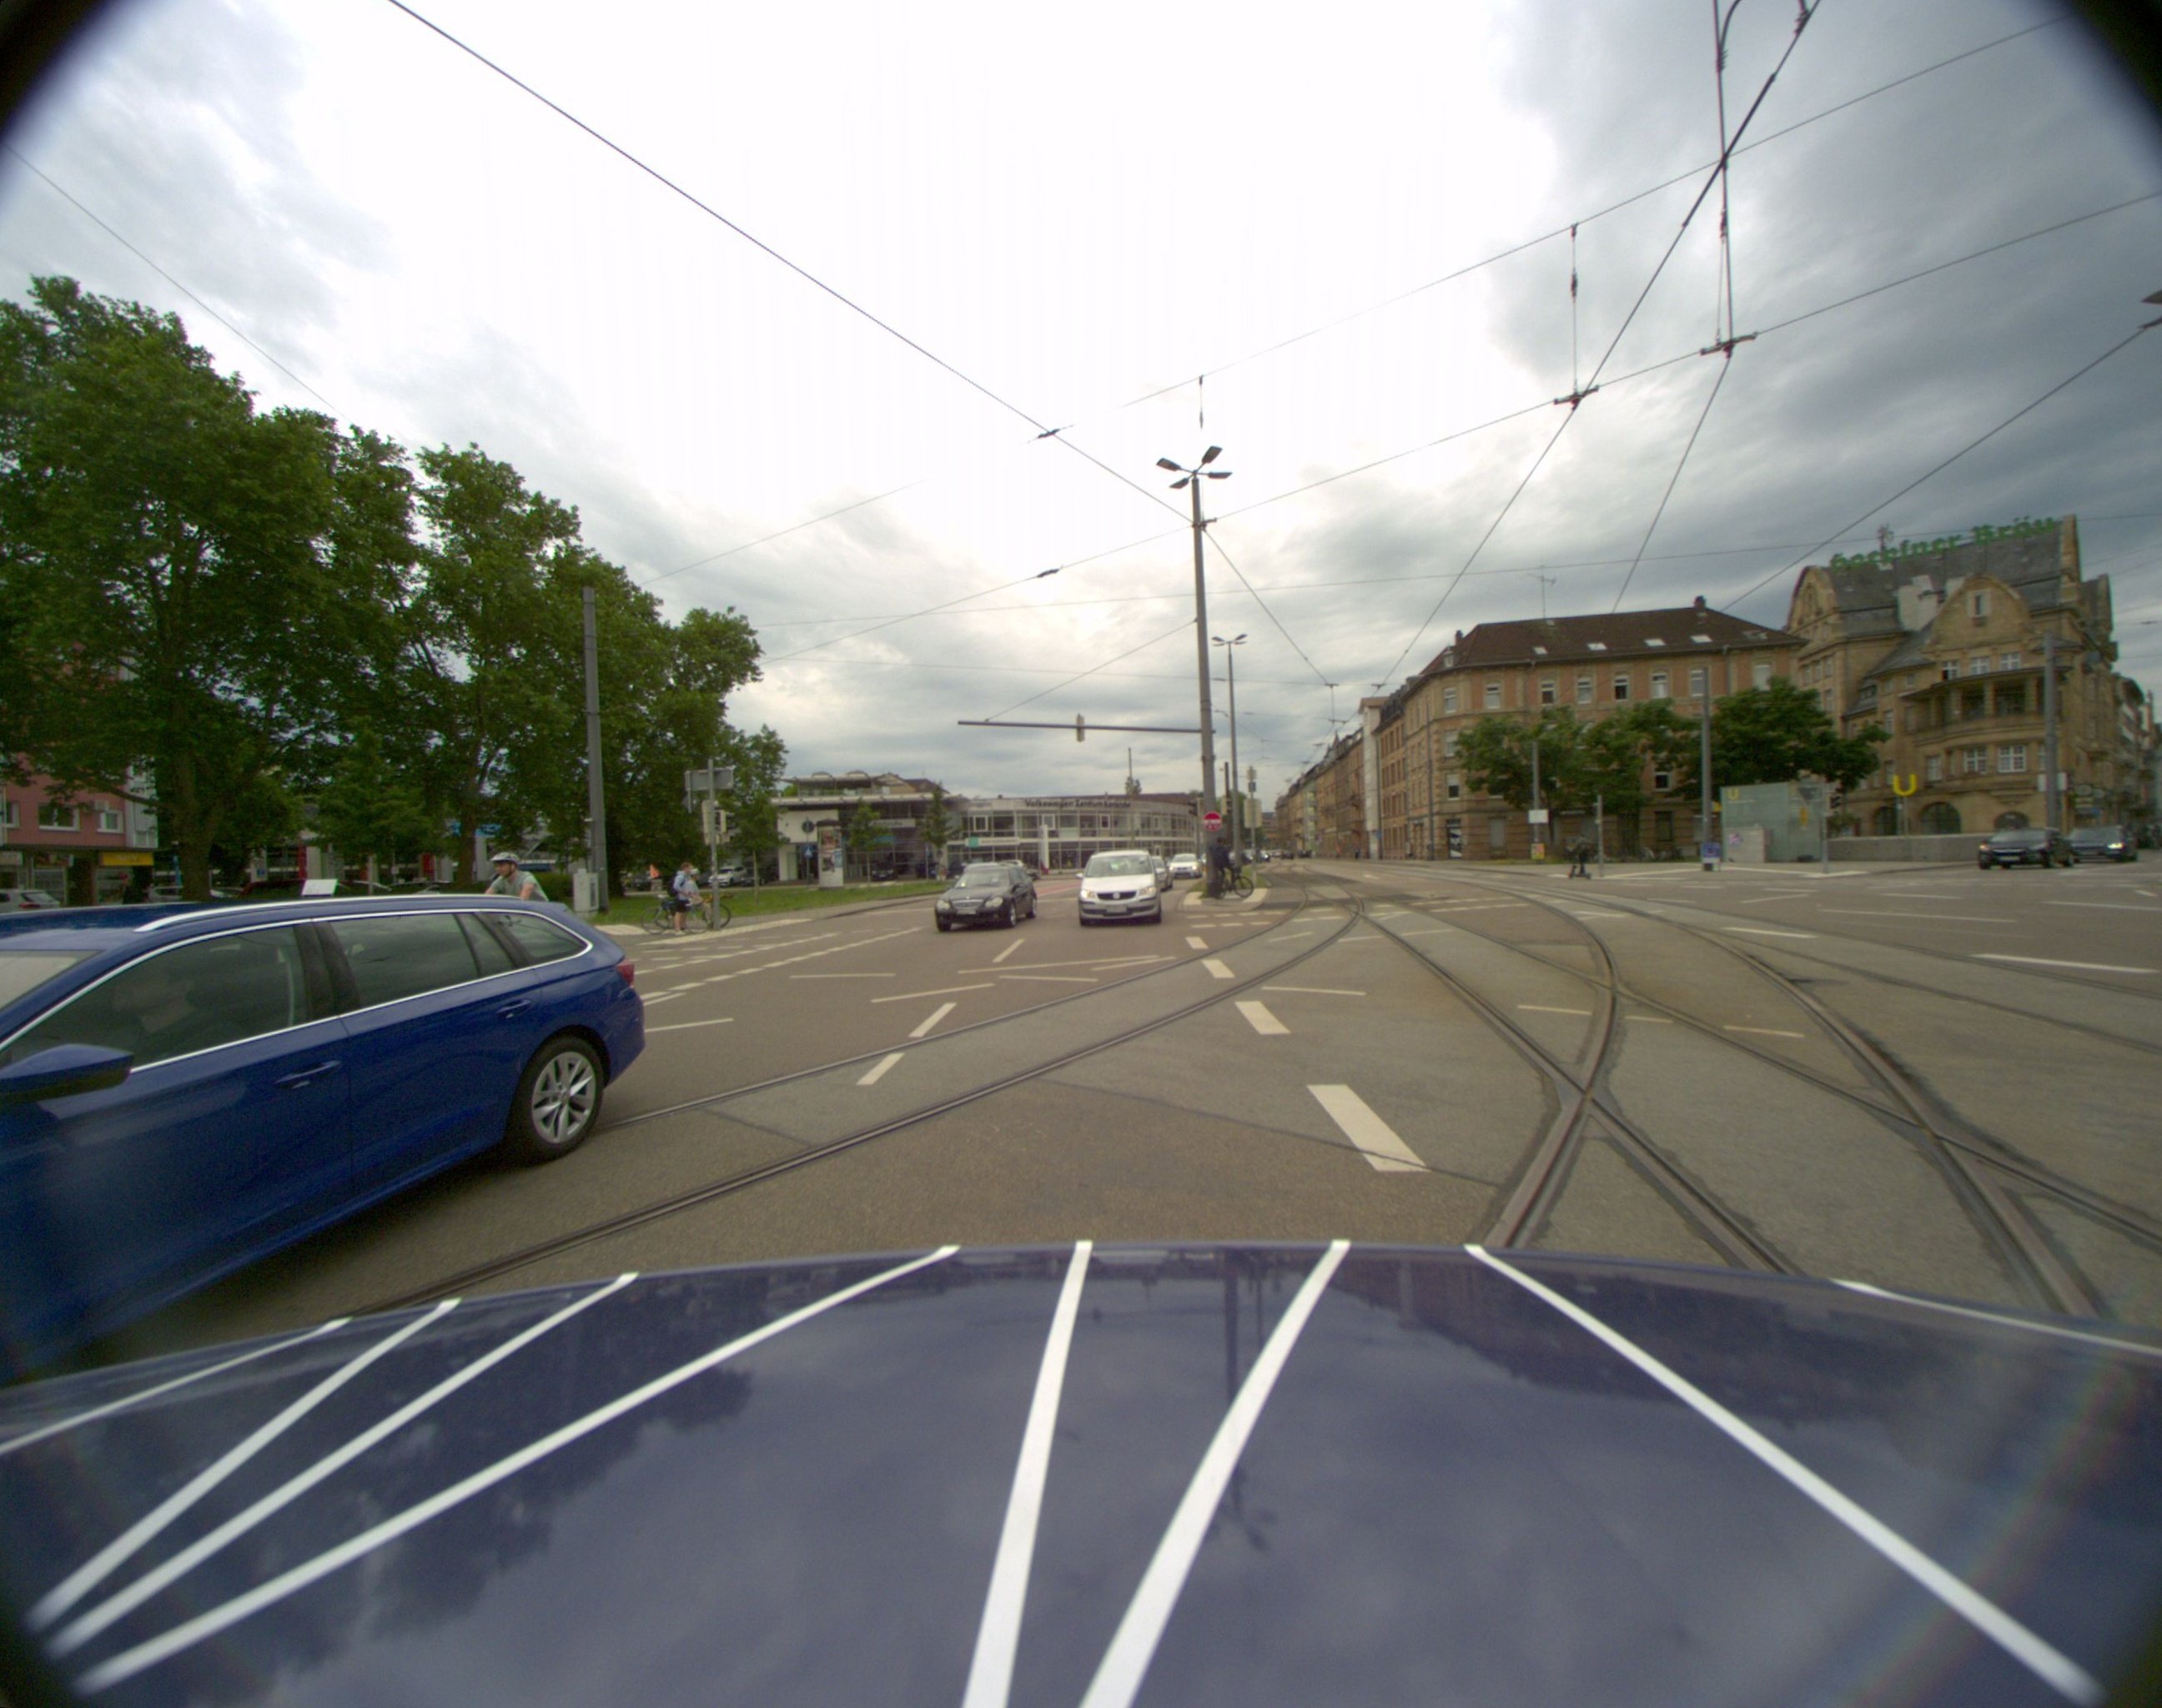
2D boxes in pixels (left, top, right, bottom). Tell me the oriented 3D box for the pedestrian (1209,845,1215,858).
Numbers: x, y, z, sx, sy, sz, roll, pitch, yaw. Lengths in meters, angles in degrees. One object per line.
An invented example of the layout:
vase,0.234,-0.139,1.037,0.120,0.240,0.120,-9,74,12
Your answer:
pedestrian,16.817,-0.287,97.543,0.662,1.671,0.651,-2,1,10

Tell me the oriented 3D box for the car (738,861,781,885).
car,-28.183,1.617,66.797,1.956,1.450,4.223,-2,8,-1

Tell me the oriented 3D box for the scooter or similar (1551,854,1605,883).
scooter or similar,20.862,0.614,31.936,0.574,1.158,1.904,-3,1,-19

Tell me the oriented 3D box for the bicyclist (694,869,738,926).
bicyclist,-9.907,1.174,20.651,0.886,1.513,0.671,1,0,-9

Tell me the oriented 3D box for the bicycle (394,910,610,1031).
bicycle,-6.705,1.298,8.973,0.762,1.072,2.017,-4,0,7

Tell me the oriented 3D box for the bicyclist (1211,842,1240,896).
bicyclist,4.487,0.465,23.567,0.656,1.630,0.516,-3,1,-28

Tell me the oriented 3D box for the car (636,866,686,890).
car,-36.596,2.070,66.314,1.956,1.505,4.224,-2,6,-1

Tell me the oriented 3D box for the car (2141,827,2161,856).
car,69.349,-0.835,48.435,4.008,1.750,1.828,-2,1,-33

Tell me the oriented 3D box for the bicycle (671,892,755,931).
bicycle,-9.933,1.559,20.551,1.946,0.992,0.601,1,0,-9

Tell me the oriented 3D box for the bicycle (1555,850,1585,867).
bicycle,32.160,0.309,49.987,0.836,1.024,2.398,-2,0,11

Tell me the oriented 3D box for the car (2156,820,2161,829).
car,180.927,-4.909,126.693,4.008,1.457,1.828,-3,1,-35

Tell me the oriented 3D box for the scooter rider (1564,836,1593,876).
scooter rider,20.865,0.085,31.861,0.570,1.618,0.821,-3,1,-19

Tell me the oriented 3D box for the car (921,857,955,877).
car,-12.647,1.138,67.036,1.959,1.517,4.220,-3,2,-25

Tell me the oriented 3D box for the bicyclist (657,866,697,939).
bicyclist,-10.081,1.200,18.993,0.735,1.742,0.585,-1,3,-15

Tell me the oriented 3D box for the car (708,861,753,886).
car,-30.797,1.709,66.839,1.956,1.589,4.224,-2,6,-1

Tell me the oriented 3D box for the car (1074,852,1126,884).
car,1.081,0.728,40.863,1.980,1.550,4.149,-1,0,13

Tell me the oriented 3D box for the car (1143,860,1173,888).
car,5.912,1.526,58.917,1.998,2.002,4.000,-2,0,3

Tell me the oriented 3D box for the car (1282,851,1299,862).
car,31.896,0.347,115.808,1.887,1.461,4.467,-2,0,9

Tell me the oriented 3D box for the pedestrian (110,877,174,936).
pedestrian,-29.925,1.650,24.237,0.867,1.808,0.897,-2,0,-13

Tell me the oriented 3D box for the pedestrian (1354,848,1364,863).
pedestrian,33.135,0.172,90.550,0.921,1.822,0.719,-2,0,-24

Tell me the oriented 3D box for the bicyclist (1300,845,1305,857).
bicyclist,36.813,-0.508,126.230,0.823,1.856,0.924,-1,1,12

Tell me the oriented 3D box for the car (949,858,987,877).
car,-10.160,1.201,68.138,1.794,1.552,4.024,-3,1,-33

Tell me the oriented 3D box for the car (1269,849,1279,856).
car,41.701,-0.310,164.015,1.813,1.423,4.020,-2,0,9

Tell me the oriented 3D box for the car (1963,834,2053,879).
car,37.822,0.082,30.964,4.252,1.602,1.995,-3,1,-35

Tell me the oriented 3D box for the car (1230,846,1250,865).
car,17.385,0.153,82.866,1.997,2.002,4.003,-2,1,12

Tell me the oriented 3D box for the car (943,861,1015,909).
car,-3.668,1.064,27.926,1.708,1.475,3.934,-4,0,5

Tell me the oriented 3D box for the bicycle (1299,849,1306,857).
bicycle,36.828,-0.224,126.260,0.798,1.285,2.413,-1,0,11

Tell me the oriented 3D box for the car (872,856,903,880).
car,-16.991,1.187,66.815,1.957,1.635,4.668,-2,5,-6

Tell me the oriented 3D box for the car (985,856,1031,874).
car,-6.705,1.010,70.018,3.904,1.433,1.733,-2,1,1

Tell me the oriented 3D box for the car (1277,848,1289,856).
car,39.541,-0.401,148.742,1.833,1.635,4.233,-2,0,9

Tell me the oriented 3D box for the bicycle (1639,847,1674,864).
bicycle,36.702,0.064,48.479,0.753,1.024,2.398,-2,0,11

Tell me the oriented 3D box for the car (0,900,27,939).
car,-41.118,2.449,26.914,4.006,1.327,1.832,-2,0,-30

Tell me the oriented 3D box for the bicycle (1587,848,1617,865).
bicycle,34.049,0.167,49.695,0.753,1.024,2.398,-2,0,11

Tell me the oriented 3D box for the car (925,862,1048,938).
car,-2.127,1.020,18.455,1.769,1.362,4.424,-4,1,8

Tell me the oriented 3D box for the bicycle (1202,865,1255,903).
bicycle,4.608,0.913,23.629,1.616,1.064,0.527,-2,1,-28

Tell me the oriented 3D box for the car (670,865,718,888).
car,-33.872,1.947,66.596,1.956,1.459,4.225,-2,5,-1

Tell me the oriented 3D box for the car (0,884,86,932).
car,-41.918,2.109,29.175,4.006,1.713,1.995,-2,0,-29

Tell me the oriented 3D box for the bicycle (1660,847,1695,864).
bicycle,38.087,0.071,48.538,0.753,1.024,2.398,0,1,11

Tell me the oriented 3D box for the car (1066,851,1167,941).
car,0.885,0.803,17.026,1.862,1.609,5.063,-3,0,5

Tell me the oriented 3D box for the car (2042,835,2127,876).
car,45.835,0.046,34.681,4.933,1.704,2.157,-2,0,-35

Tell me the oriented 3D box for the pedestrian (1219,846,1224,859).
pedestrian,20.787,-0.183,112.256,0.651,1.904,0.603,-2,1,11

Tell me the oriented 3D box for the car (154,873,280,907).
car,-46.509,1.905,41.033,4.006,1.604,1.996,-2,0,-29

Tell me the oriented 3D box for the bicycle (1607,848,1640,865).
bicycle,35.224,0.124,49.373,0.753,1.024,2.398,-2,0,11

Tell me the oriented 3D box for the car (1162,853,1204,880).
car,6.023,0.698,44.611,1.970,1.447,4.197,-2,0,13

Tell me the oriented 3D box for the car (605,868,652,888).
car,-39.906,2.138,67.036,3.120,1.505,1.439,-2,5,-1

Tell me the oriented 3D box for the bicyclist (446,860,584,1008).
bicyclist,-6.691,0.912,9.034,0.790,1.609,0.933,-4,1,7

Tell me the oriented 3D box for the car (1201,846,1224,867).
car,12.905,0.220,74.287,1.997,2.002,4.003,-2,1,12

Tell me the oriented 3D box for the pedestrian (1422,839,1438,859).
pedestrian,28.828,-0.422,62.751,0.812,1.666,0.798,-2,1,-7

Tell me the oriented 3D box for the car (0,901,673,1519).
car,-3.723,1.070,2.615,1.769,1.428,4.758,-2,0,4

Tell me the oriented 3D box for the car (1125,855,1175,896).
car,2.740,0.805,30.319,1.809,1.398,3.984,-2,1,5

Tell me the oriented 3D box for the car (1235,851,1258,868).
car,19.416,0.601,88.795,2.370,1.744,5.134,-2,0,14

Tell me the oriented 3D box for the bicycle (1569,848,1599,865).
bicycle,32.943,0.164,49.827,0.753,1.024,2.398,-2,0,11

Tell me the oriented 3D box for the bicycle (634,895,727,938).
bicycle,-10.001,1.559,19.035,1.994,0.993,0.579,1,2,-16
